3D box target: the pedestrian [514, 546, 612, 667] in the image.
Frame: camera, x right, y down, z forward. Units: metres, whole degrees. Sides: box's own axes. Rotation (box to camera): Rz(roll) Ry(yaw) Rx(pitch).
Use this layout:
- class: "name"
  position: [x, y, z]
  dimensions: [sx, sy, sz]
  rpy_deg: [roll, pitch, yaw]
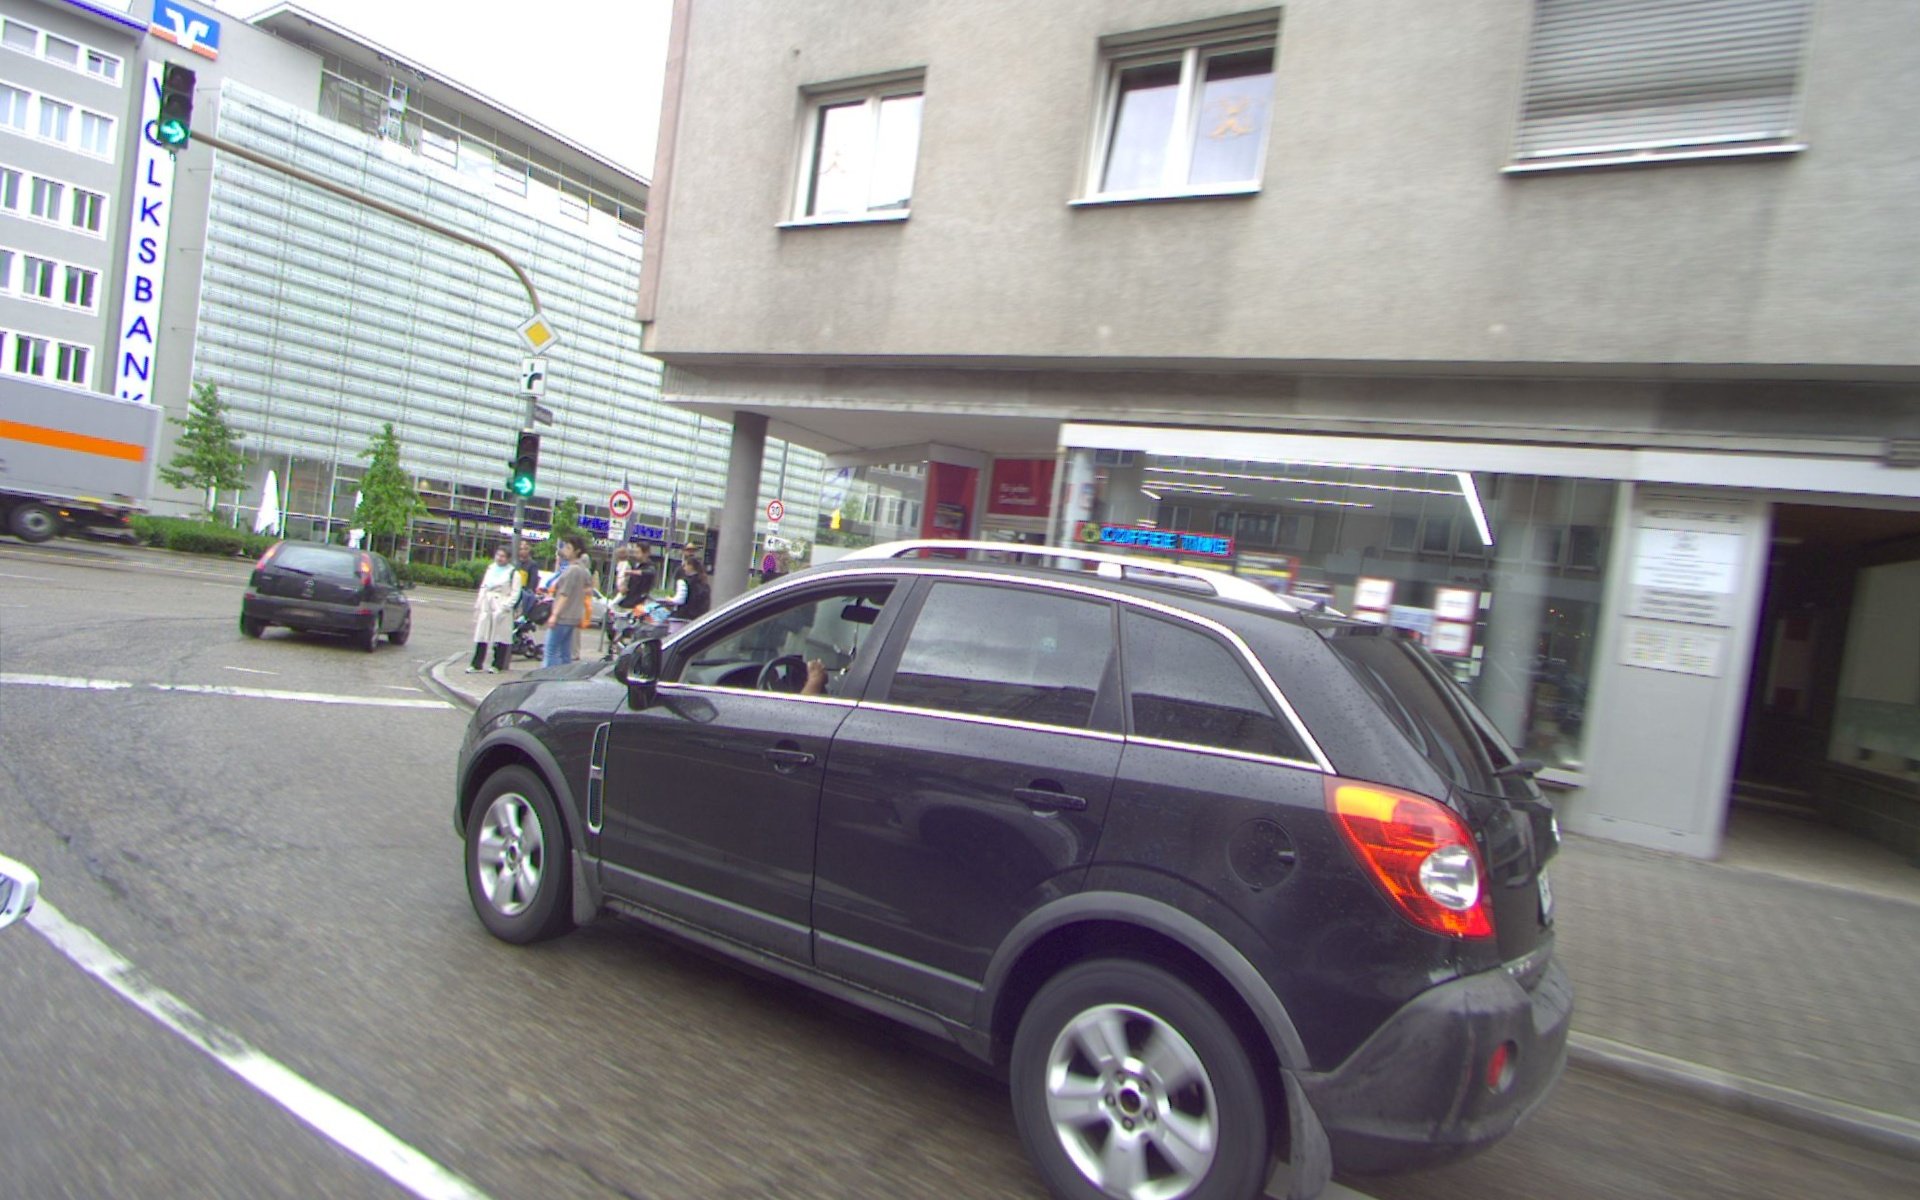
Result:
- class: "pedestrian"
  position: [-6.141, 0.104, 15.576]
  dimensions: [0.827, 1.745, 1.032]
  rpy_deg: [8, 2, 44]

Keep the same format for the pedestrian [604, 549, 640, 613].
- class: "pedestrian"
  position: [-4.825, -0.275, 14.355]
  dimensions: [0.219, 0.857, 0.436]
  rpy_deg: [9, -1, -41]

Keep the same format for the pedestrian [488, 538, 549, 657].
- class: "pedestrian"
  position: [-7.239, -0.030, 16.496]
  dimensions: [0.777, 1.891, 0.613]
  rpy_deg: [3, 1, 43]

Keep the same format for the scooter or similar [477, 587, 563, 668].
- class: "scooter or similar"
  position: [-6.628, 0.415, 15.154]
  dimensions: [0.966, 1.124, 0.647]
  rpy_deg: [4, 2, -44]

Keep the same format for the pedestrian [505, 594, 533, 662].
- class: "pedestrian"
  position: [-6.879, 0.431, 15.686]
  dimensions: [0.259, 1.014, 0.467]
  rpy_deg: [1, 4, -39]

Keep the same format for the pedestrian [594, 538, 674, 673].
- class: "pedestrian"
  position: [-4.734, 0.080, 14.632]
  dimensions: [0.648, 1.889, 0.835]
  rpy_deg: [4, 2, 32]

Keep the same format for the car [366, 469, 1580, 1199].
- class: "car"
  position: [-0.171, 0.685, 3.958]
  dimensions: [4.231, 1.807, 1.910]
  rpy_deg: [9, 0, 33]

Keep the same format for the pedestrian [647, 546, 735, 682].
- class: "pedestrian"
  position: [-3.590, 0.195, 13.461]
  dimensions: [0.608, 1.744, 0.835]
  rpy_deg: [5, 0, 35]

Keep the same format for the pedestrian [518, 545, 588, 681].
- class: "pedestrian"
  position: [-5.187, 0.168, 12.844]
  dimensions: [0.734, 1.656, 0.594]
  rpy_deg: [3, 1, -21]

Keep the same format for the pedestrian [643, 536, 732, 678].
- class: "pedestrian"
  position: [-3.931, 0.113, 14.527]
  dimensions: [0.721, 1.956, 0.817]
  rpy_deg: [6, 1, 36]

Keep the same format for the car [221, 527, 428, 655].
- class: "car"
  position: [-9.366, -0.087, 15.171]
  dimensions: [1.700, 1.435, 3.756]
  rpy_deg: [10, -4, -20]

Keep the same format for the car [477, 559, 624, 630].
- class: "car"
  position: [-12.242, -0.097, 30.401]
  dimensions: [1.919, 1.592, 4.004]
  rpy_deg: [10, -1, 14]

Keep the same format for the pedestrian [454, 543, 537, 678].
- class: "pedestrian"
  position: [-5.926, 0.126, 12.846]
  dimensions: [0.824, 1.659, 0.539]
  rpy_deg: [3, 2, 27]

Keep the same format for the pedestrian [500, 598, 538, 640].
- class: "pedestrian"
  position: [-6.645, 0.286, 15.160]
  dimensions: [0.369, 0.578, 0.453]
  rpy_deg: [4, 2, -43]

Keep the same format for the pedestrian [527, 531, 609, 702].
- class: "pedestrian"
  position: [-4.159, 0.171, 10.652]
  dimensions: [0.620, 1.714, 0.777]
  rpy_deg: [4, 1, -27]

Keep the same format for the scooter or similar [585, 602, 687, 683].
- class: "scooter or similar"
  position: [-4.427, 0.575, 13.764]
  dimensions: [1.030, 0.998, 0.771]
  rpy_deg: [4, 0, 27]

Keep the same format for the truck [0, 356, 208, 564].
- class: "truck"
  position: [-24.324, -3.751, 23.067]
  dimensions: [2.808, 4.385, 10.755]
  rpy_deg: [8, -1, 31]

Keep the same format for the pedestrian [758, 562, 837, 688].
- class: "pedestrian"
  position: [-2.240, 0.328, 13.891]
  dimensions: [0.825, 1.659, 0.615]
  rpy_deg: [4, 3, 32]

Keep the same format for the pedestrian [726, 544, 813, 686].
- class: "pedestrian"
  position: [-2.722, 0.227, 14.423]
  dimensions: [0.822, 1.888, 0.667]
  rpy_deg: [8, 0, 7]

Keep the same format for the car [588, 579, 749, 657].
- class: "car"
  position: [-8.057, 0.565, 28.161]
  dimensions: [1.922, 1.592, 3.999]
  rpy_deg: [9, -1, 27]
